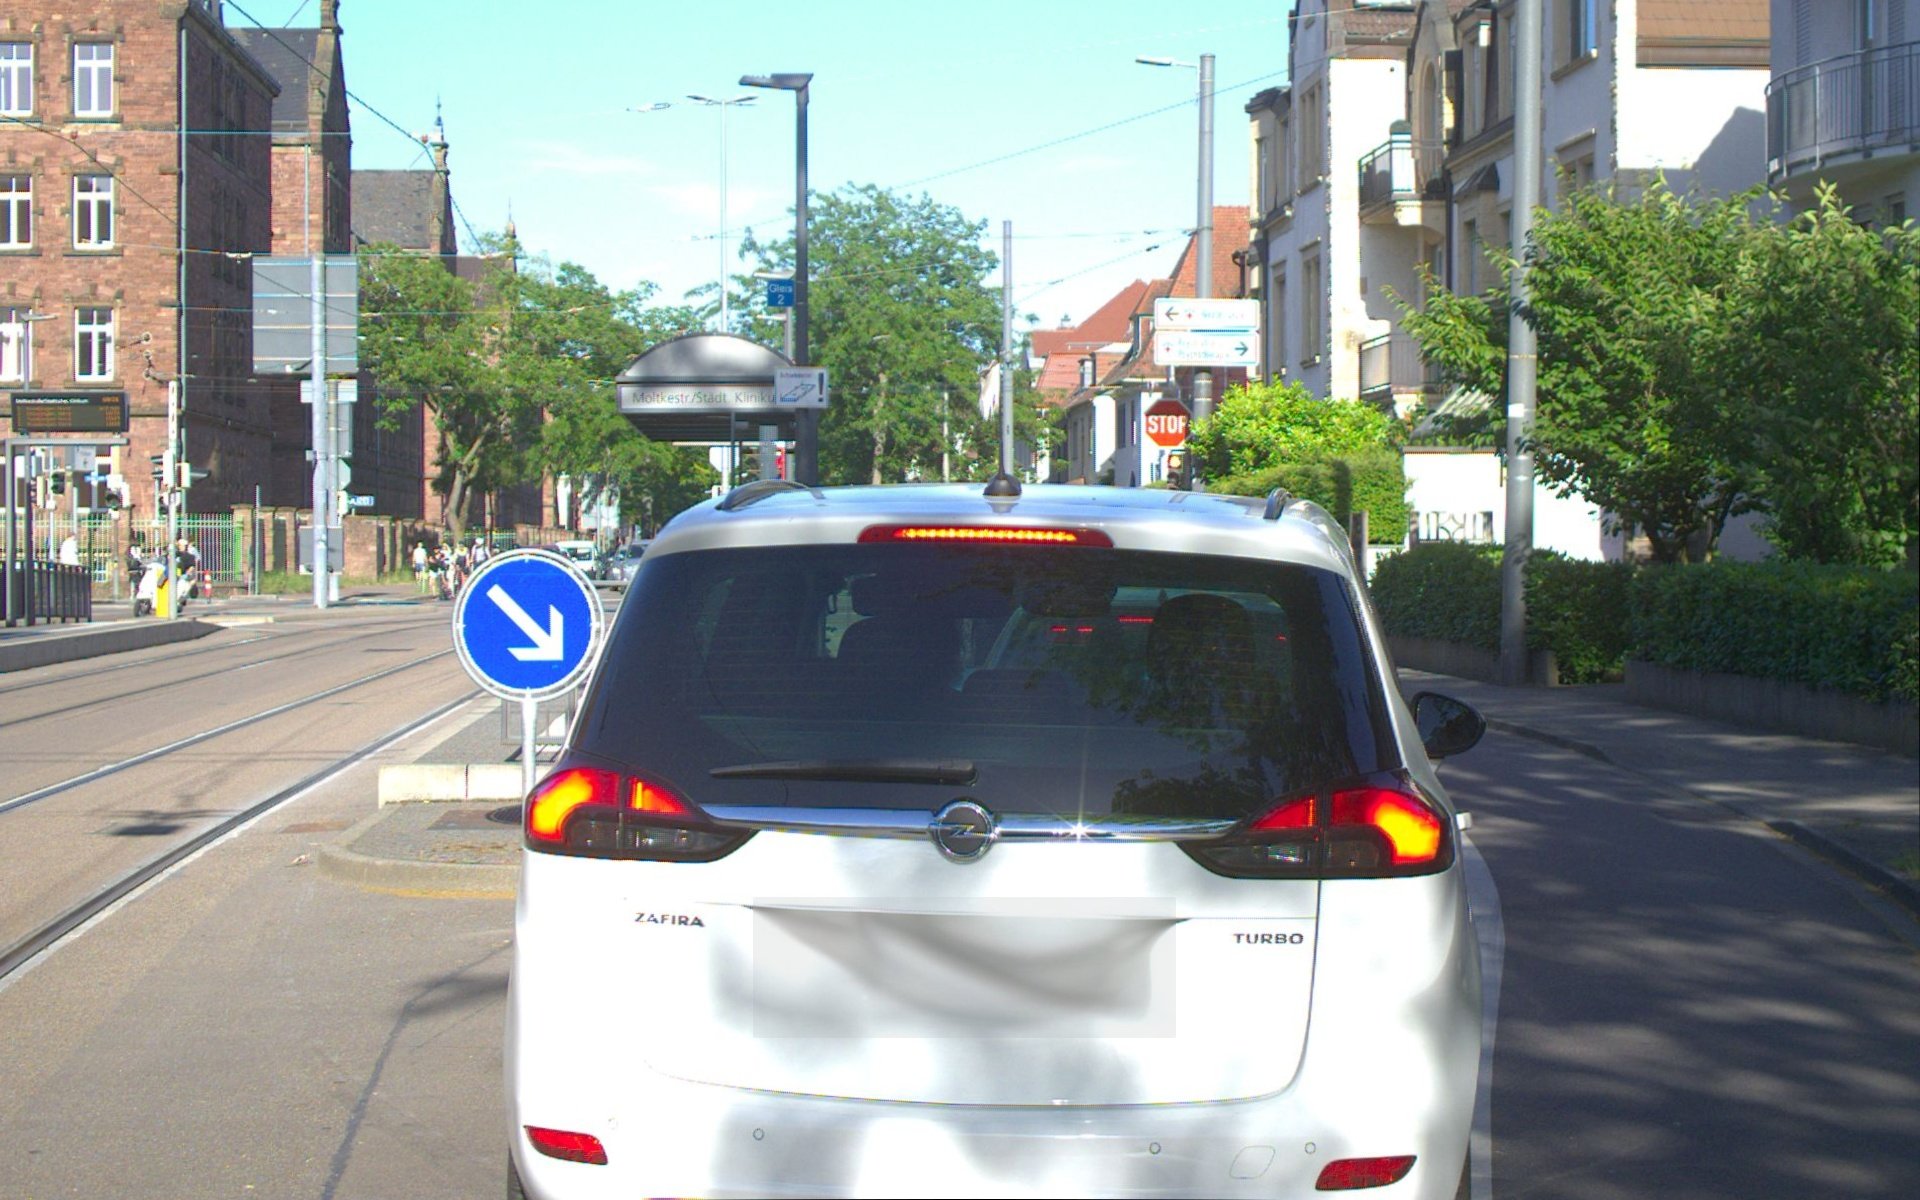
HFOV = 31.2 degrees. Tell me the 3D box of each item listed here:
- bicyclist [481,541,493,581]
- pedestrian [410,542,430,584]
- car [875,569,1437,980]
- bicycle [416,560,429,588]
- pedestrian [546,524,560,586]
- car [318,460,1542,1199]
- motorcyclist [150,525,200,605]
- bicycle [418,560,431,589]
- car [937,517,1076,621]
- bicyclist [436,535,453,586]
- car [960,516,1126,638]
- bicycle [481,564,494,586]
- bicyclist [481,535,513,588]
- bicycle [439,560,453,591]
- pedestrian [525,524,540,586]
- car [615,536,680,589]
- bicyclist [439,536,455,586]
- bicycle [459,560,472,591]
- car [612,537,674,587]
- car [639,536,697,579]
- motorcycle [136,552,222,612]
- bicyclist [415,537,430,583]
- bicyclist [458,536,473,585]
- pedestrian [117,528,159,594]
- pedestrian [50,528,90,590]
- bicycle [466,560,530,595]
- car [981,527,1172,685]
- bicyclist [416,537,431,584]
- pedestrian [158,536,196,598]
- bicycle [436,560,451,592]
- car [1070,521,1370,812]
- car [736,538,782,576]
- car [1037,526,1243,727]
[{"bbox_3d":[-15.355,-1.281,111.664,0.359,1.299,0.398,0,1,-4],"label":"bicyclist"},{"bbox_3d":[-21.674,-1.483,137.947,0.734,1.708,0.754,1,0,-6],"label":"pedestrian"},{"bbox_3d":[0.742,0.588,13.990,1.953,1.392,4.000,0,1,2],"label":"car"},{"bbox_3d":[-17.992,-0.873,115.146,0.344,0.946,0.997,1,0,-4],"label":"bicycle"},{"bbox_3d":[-13.298,-1.473,112.261,0.444,2.007,0.496,0,1,-4],"label":"pedestrian"},{"bbox_3d":[0.134,0.582,7.609,1.994,1.639,3.992,1,1,6],"label":"car"},{"bbox_3d":[-15.835,-0.707,69.336,0.614,1.616,0.844,0,1,22],"label":"motorcyclist"},{"bbox_3d":[-17.654,-0.850,113.316,0.344,0.946,0.997,1,0,-4],"label":"bicycle"},{"bbox_3d":[0.663,-0.488,51.767,1.993,1.497,4.000,0,1,-1],"label":"car"},{"bbox_3d":[-15.480,-1.186,103.290,0.444,1.548,0.743,0,1,-4],"label":"bicyclist"},{"bbox_3d":[1.016,-0.319,44.307,1.993,1.497,4.000,0,1,-1],"label":"car"},{"bbox_3d":[-15.357,-0.818,111.674,0.344,0.722,0.997,1,1,-4],"label":"bicycle"},{"bbox_3d":[-12.649,-1.055,93.945,0.758,1.425,0.516,1,0,3],"label":"bicyclist"},{"bbox_3d":[-15.935,-0.759,106.622,0.344,0.946,0.997,1,0,-4],"label":"bicycle"},{"bbox_3d":[-13.913,-1.479,111.940,0.444,2.007,0.496,0,1,-4],"label":"pedestrian"},{"bbox_3d":[-9.742,-1.190,107.317,1.993,1.623,4.001,0,1,-5],"label":"car"},{"bbox_3d":[-15.898,-1.223,106.572,0.444,1.548,0.496,0,1,-4],"label":"bicyclist"},{"bbox_3d":[-15.704,-0.781,109.171,0.344,0.946,0.997,1,0,-4],"label":"bicycle"},{"bbox_3d":[-10.539,-1.272,114.423,1.993,1.623,4.001,0,1,-5],"label":"car"},{"bbox_3d":[-11.087,-1.616,130.660,1.993,1.623,4.001,0,1,-2],"label":"car"},{"bbox_3d":[-15.785,-0.379,69.495,0.612,1.194,2.073,0,1,22],"label":"motorcycle"},{"bbox_3d":[-17.988,-1.339,115.102,0.444,1.548,0.496,0,1,-4],"label":"bicyclist"},{"bbox_3d":[-15.694,-1.246,109.157,0.444,1.548,0.496,0,1,-4],"label":"bicyclist"},{"bbox_3d":[-21.167,-1.004,88.555,0.843,1.686,1.029,1,0,-1],"label":"pedestrian"},{"bbox_3d":[-22.944,-1.057,88.611,0.802,1.583,0.935,1,0,-3],"label":"pedestrian"},{"bbox_3d":[-12.633,-0.620,93.937,1.670,0.949,0.529,0,1,3],"label":"bicycle"},{"bbox_3d":[1.172,0.025,36.186,1.830,1.574,4.010,0,1,-1],"label":"car"},{"bbox_3d":[-17.670,-1.316,113.268,0.444,1.548,0.496,0,1,-4],"label":"bicyclist"},{"bbox_3d":[-21.807,-0.924,95.752,0.735,1.708,0.705,1,0,22],"label":"pedestrian"},{"bbox_3d":[-15.489,-0.717,103.089,0.344,0.946,1.160,1,0,-4],"label":"bicycle"},{"bbox_3d":[1.490,0.331,20.835,1.637,1.595,3.854,0,1,2],"label":"car"},{"bbox_3d":[-8.845,-1.896,151.126,1.993,1.623,4.001,0,1,-4],"label":"car"},{"bbox_3d":[1.490,0.178,29.263,1.637,1.595,3.854,0,1,2],"label":"car"}]
